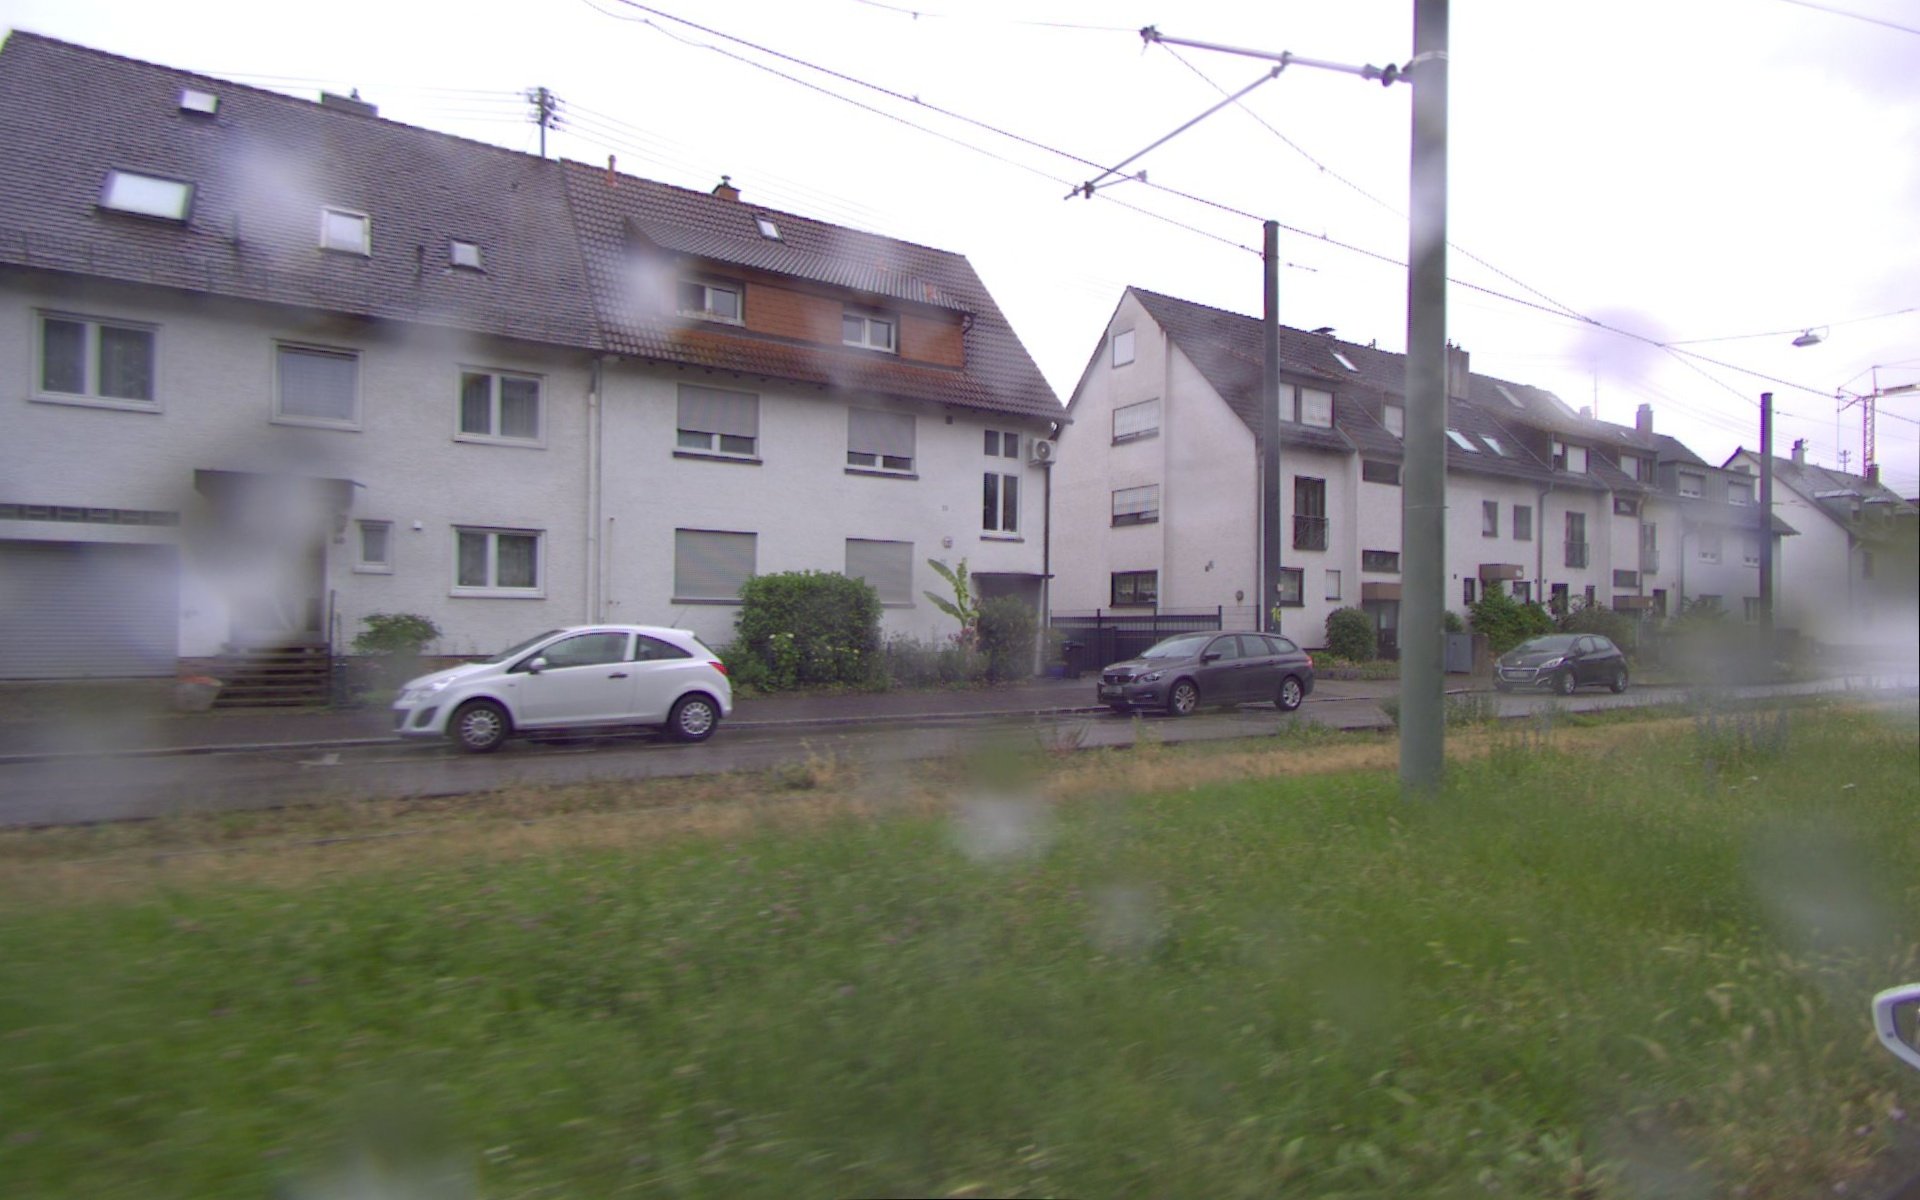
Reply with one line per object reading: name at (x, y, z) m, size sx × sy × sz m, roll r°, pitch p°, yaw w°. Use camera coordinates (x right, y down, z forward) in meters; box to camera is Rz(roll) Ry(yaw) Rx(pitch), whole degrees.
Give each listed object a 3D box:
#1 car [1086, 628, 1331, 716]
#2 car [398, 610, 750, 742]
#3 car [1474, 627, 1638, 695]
car at (4.644, 1.341, 18.504) m, size 4.615 × 1.442 × 1.592 m, roll 4°, pitch -2°, yaw -32°
car at (-4.826, 0.956, 12.718) m, size 3.900 × 1.442 × 1.592 m, roll 4°, pitch -2°, yaw -32°
car at (14.937, 1.532, 25.140) m, size 4.088 × 1.523 × 1.867 m, roll 4°, pitch -3°, yaw -32°
